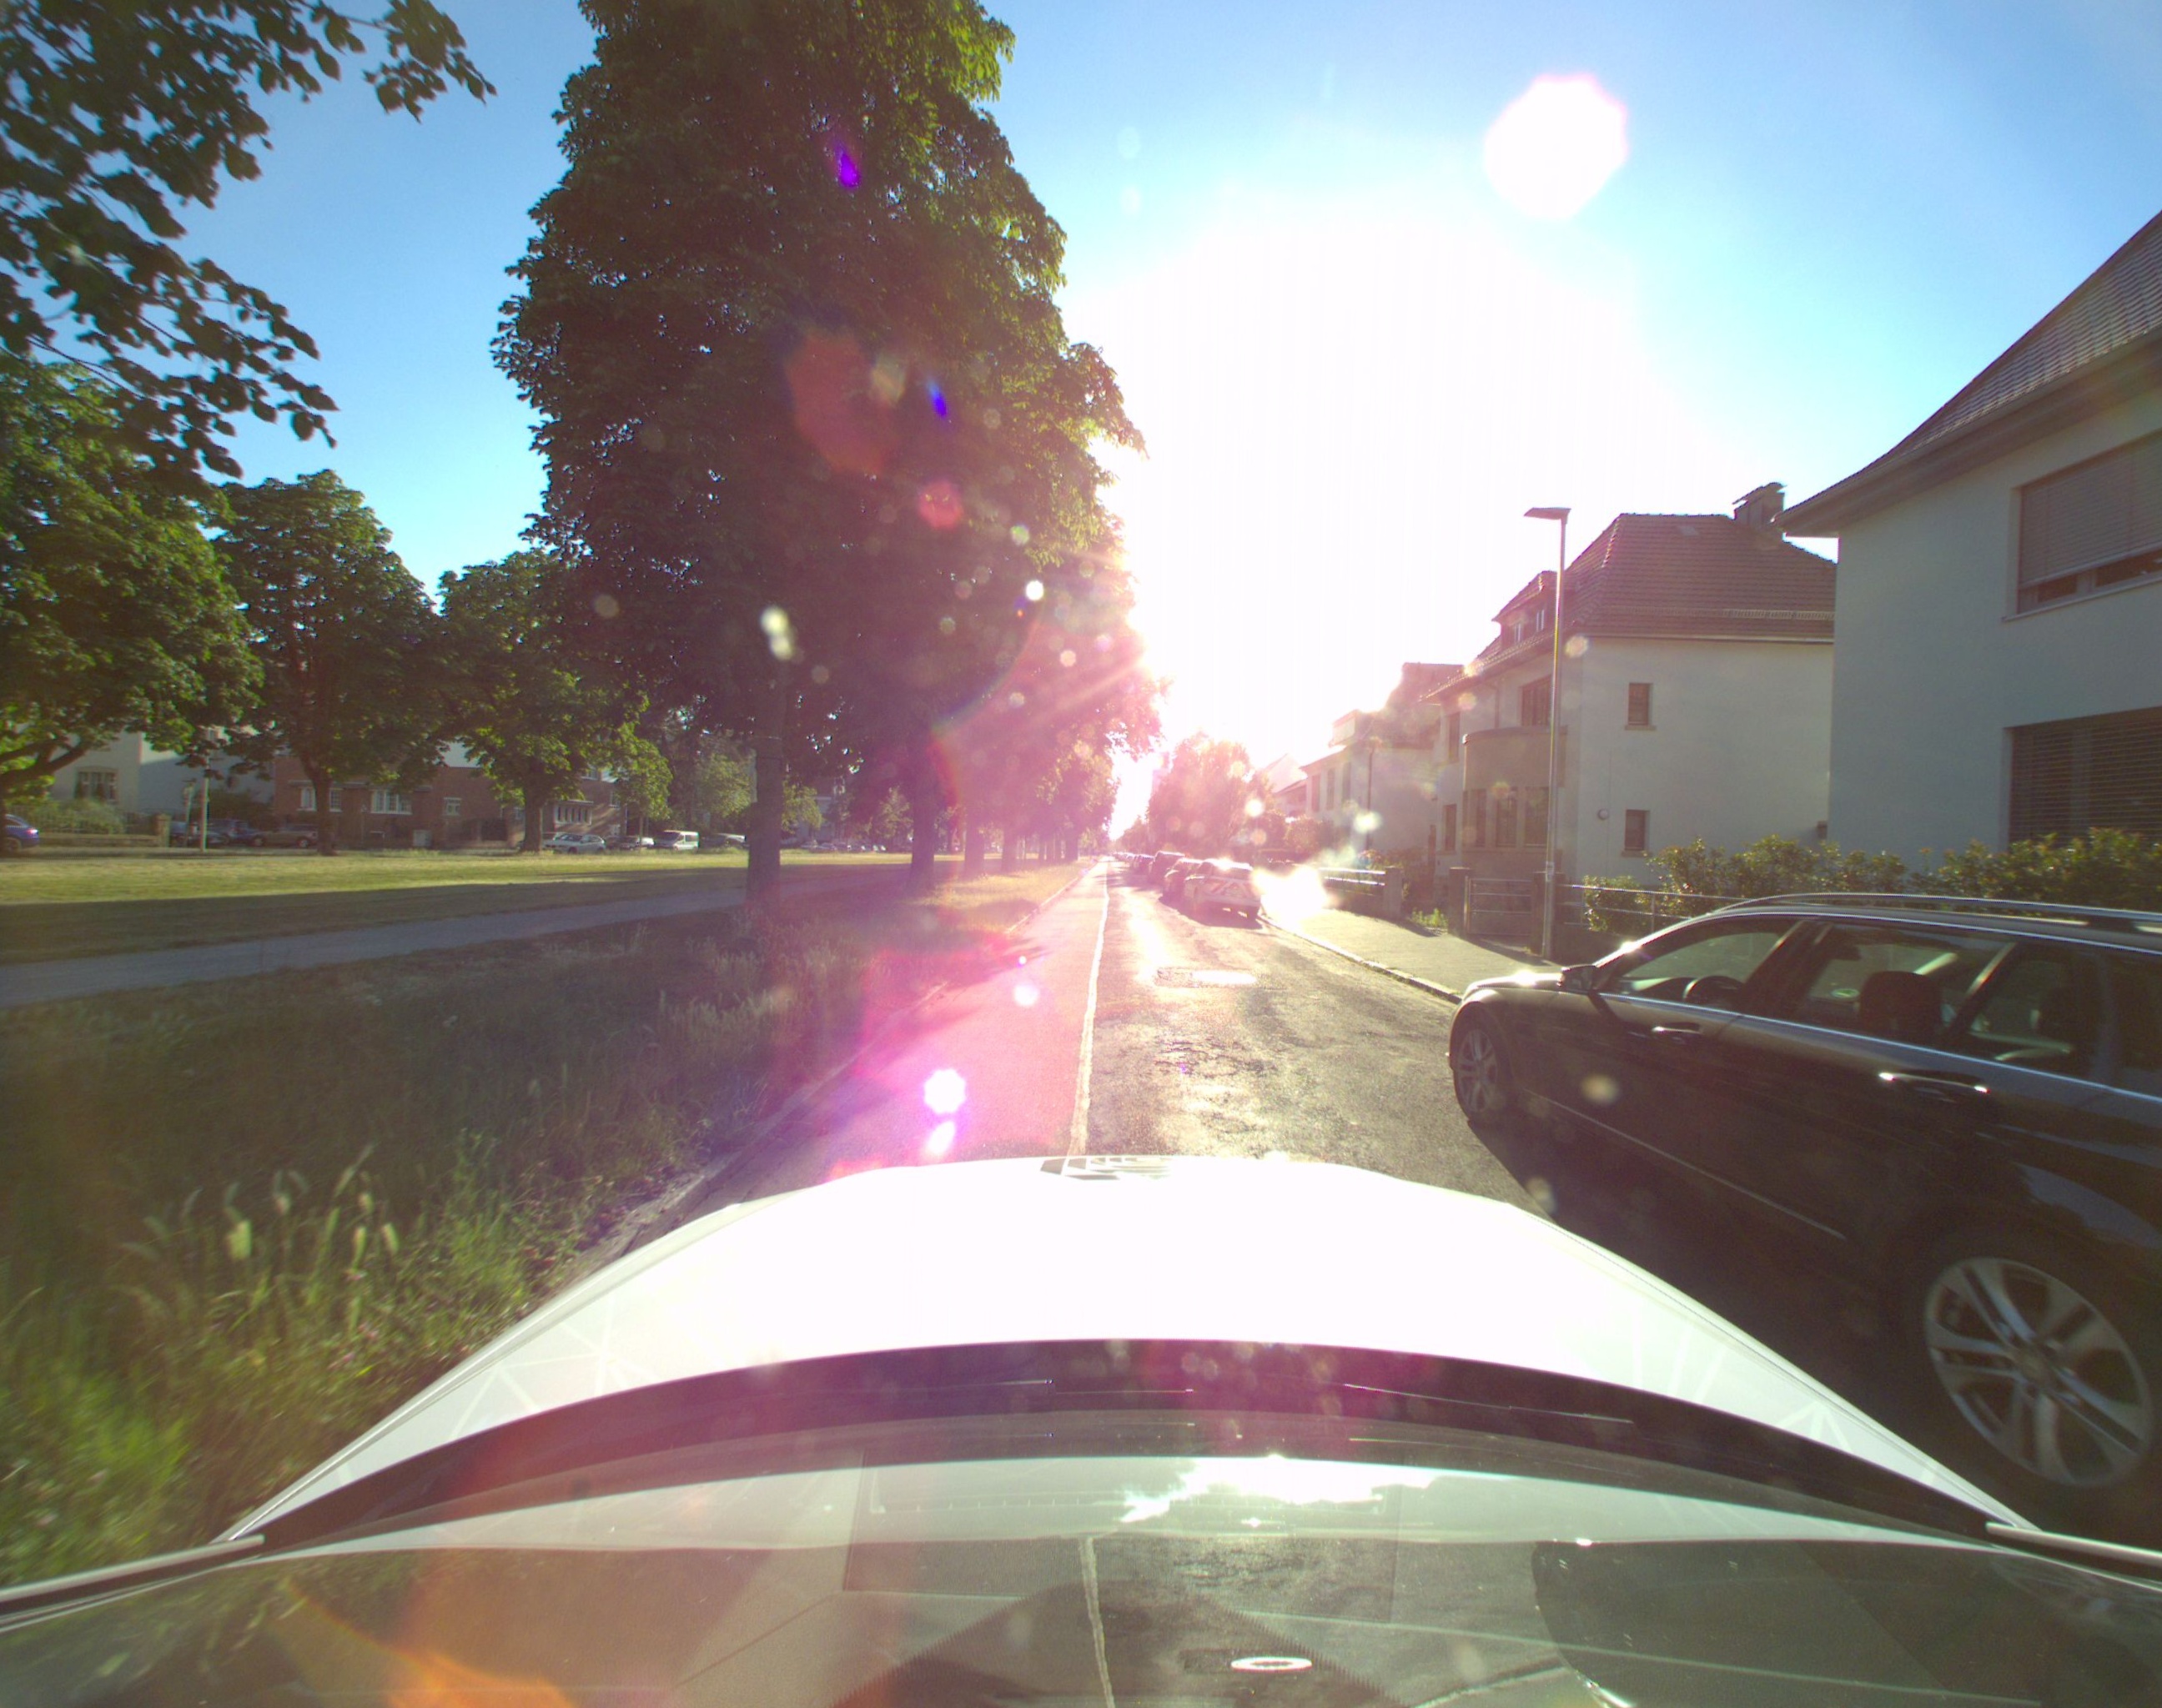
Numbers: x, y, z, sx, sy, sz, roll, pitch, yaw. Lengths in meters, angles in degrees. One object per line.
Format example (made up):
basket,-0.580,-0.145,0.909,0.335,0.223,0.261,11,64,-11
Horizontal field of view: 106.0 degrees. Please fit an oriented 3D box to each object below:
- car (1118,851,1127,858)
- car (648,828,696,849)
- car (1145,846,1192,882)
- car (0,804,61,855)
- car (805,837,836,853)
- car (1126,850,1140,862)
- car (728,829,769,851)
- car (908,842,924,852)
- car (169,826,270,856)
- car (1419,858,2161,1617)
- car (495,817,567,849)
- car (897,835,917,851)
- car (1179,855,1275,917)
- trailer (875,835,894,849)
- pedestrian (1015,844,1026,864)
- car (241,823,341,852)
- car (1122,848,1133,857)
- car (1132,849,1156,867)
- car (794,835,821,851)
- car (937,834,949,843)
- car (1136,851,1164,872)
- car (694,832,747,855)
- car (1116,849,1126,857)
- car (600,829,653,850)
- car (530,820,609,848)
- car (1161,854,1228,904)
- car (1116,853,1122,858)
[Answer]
car,10.537,0.136,206.382,1.985,1.629,4.003,2,0,3
car,-36.790,-1.366,73.358,1.809,1.837,4.411,2,0,2
car,4.587,0.500,43.243,1.987,1.737,4.864,2,0,1
car,-38.288,-0.877,27.185,1.985,1.749,5.013,2,1,4
car,-30.776,-1.046,96.296,1.984,1.683,4.005,2,0,4
car,7.341,0.243,115.747,1.750,1.419,4.074,8,1,2
car,-31.372,-1.302,77.004,1.986,2.013,4.002,3,0,2
car,-29.080,-1.197,143.287,1.678,1.559,4.317,2,0,3
car,-49.925,-0.728,47.265,3.883,1.574,1.836,2,0,1
car,3.160,0.863,3.200,1.774,1.499,4.398,4,1,0
car,-37.276,-1.408,55.347,1.750,2.013,4.371,2,0,2
car,-34.095,-2.092,159.620,2.428,2.922,5.821,0,0,2
car,4.086,0.834,23.526,1.986,1.464,4.551,4,0,1
trailer,-34.485,-2.107,143.139,1.986,2.428,4.727,2,0,2
pedestrian,-5.233,-0.019,70.511,0.720,1.757,0.995,2,1,8
car,-45.679,-0.955,47.132,3.971,1.486,1.866,2,0,2
car,7.914,-0.265,139.123,1.752,1.605,4.359,2,0,1
car,5.657,0.333,73.460,1.687,1.483,3.926,6,0,-2
car,-35.816,-1.389,106.910,2.023,2.014,4.003,0,0,3
car,-33.399,-3.791,197.297,1.986,2.014,4.486,-1,-1,1
car,5.271,0.559,62.843,1.787,1.492,4.676,2,0,1
car,-31.296,-0.920,70.907,1.985,1.940,5.250,2,1,3
car,7.884,-0.188,159.671,1.752,1.605,4.359,2,0,1
car,-37.650,-1.183,67.613,1.750,1.623,4.308,2,0,2
car,-32.010,-1.210,51.154,1.812,1.639,4.652,2,0,2
car,3.980,0.824,29.203,1.773,1.463,4.596,5,1,2
car,11.247,0.439,240.862,1.972,1.682,4.003,2,0,3
